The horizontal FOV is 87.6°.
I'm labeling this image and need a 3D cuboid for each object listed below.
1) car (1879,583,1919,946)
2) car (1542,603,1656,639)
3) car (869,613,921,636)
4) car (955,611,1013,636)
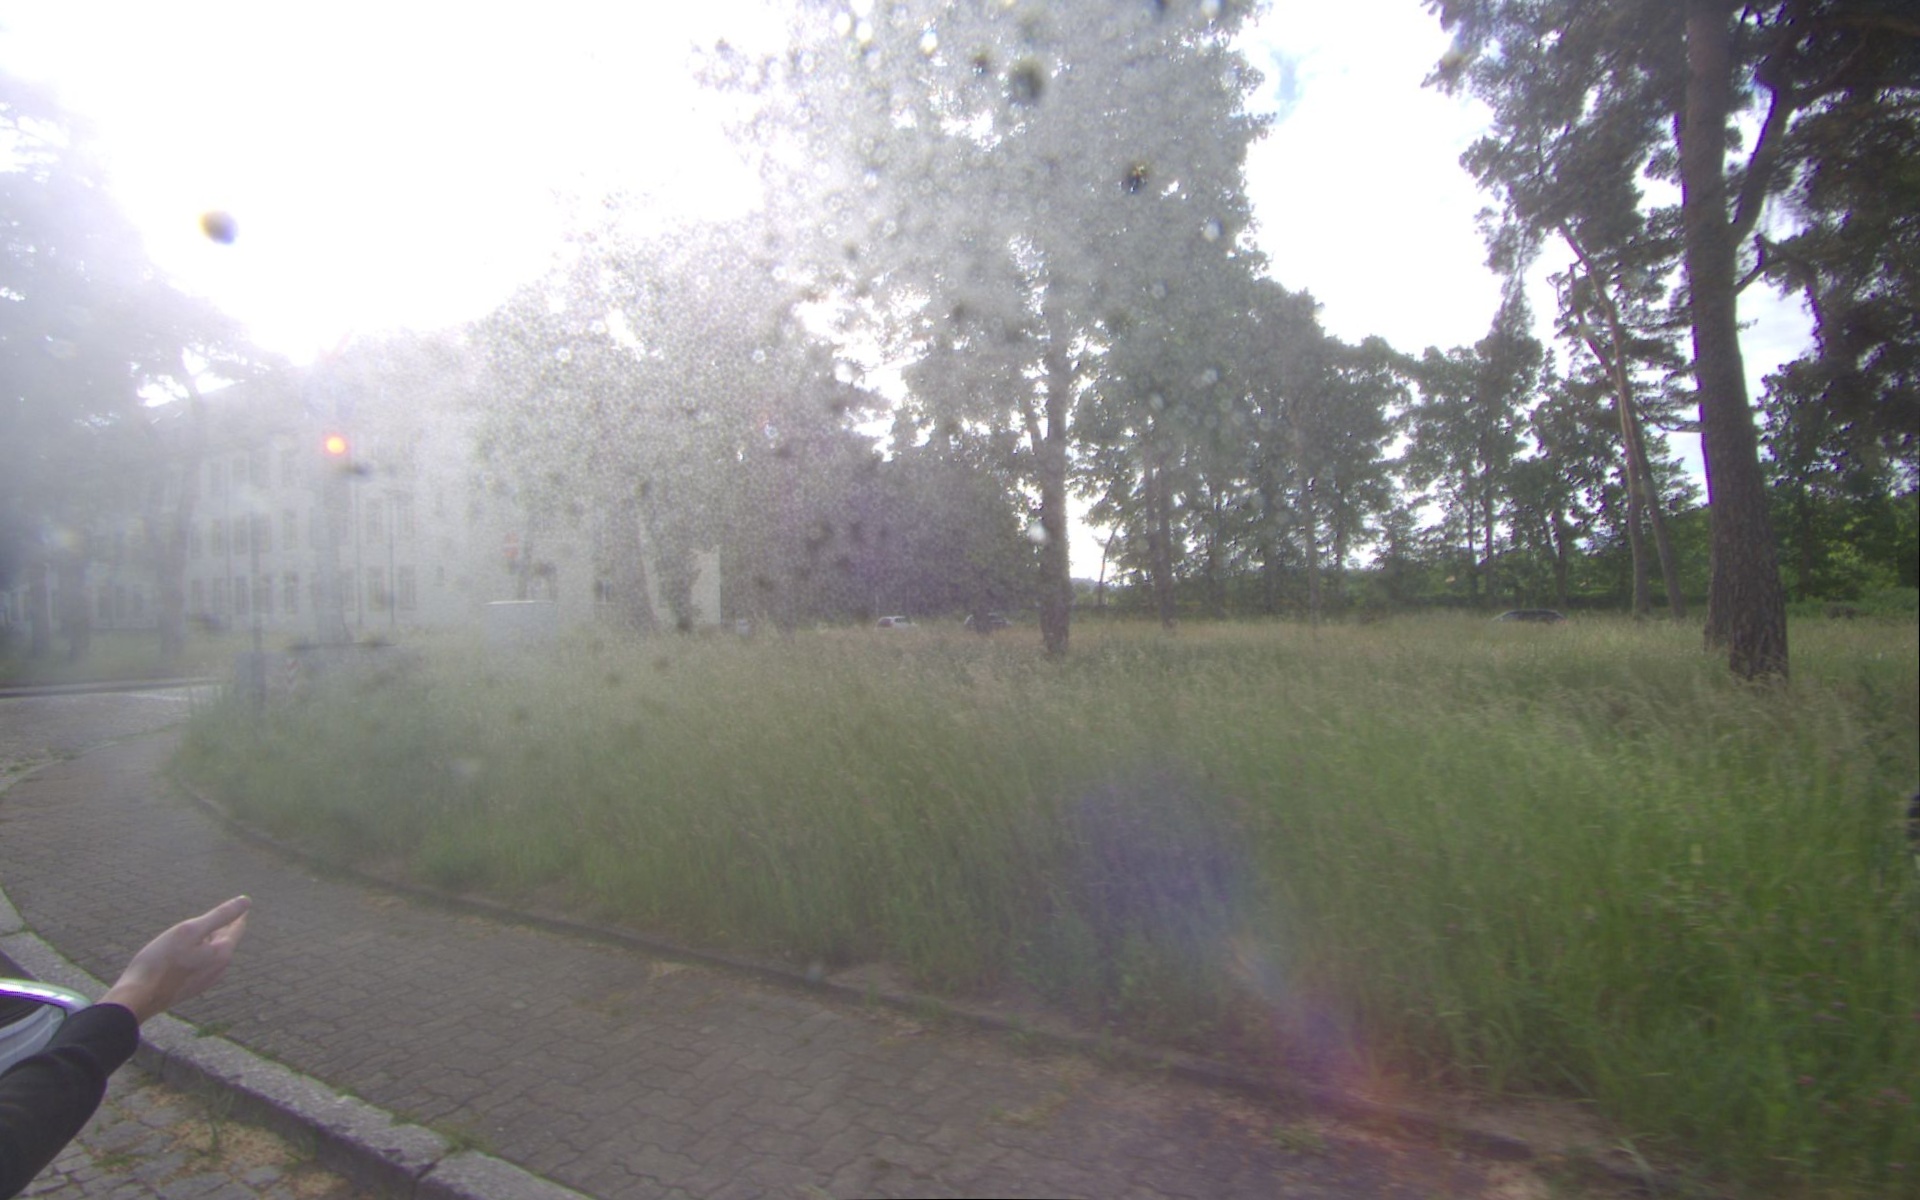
[{"bbox_3d":[3.815,0.634,2.258,1.770,1.437,3.980,-1,0,31],"label":"car"},{"bbox_3d":[29.559,0.984,46.489,4.384,1.607,1.991,-1,0,30],"label":"car"},{"bbox_3d":[-4.438,1.666,69.163,1.748,1.553,3.674,-1,-1,32],"label":"car"},{"bbox_3d":[1.572,1.507,64.554,1.972,1.553,3.978,-1,-1,33],"label":"car"}]
